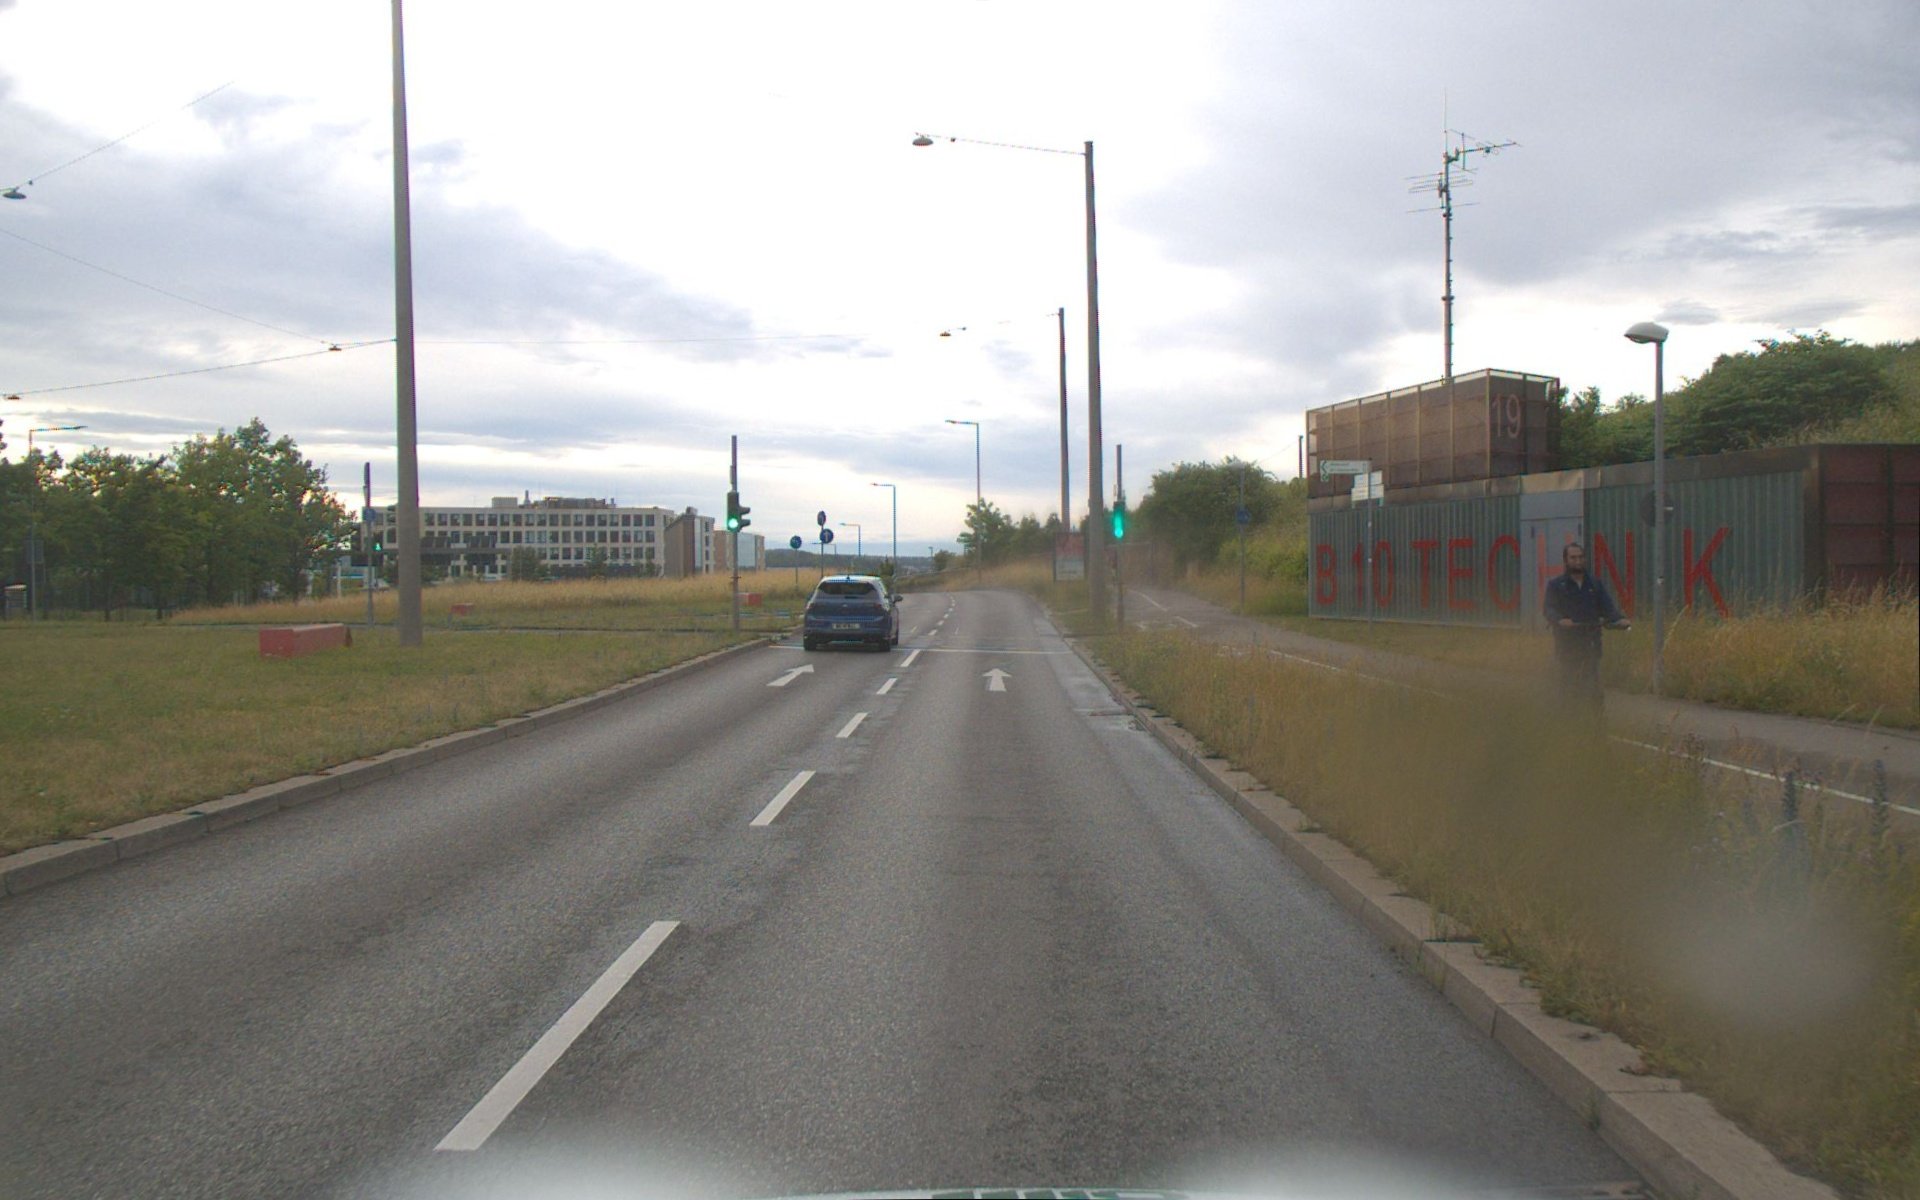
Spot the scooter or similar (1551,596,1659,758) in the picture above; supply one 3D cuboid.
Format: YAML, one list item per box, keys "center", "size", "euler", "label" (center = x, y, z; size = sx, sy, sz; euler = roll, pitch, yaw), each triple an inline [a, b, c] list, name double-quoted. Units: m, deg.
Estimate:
- center: [5.190, 0.593, 13.351]
  size: [0.393, 1.217, 1.114]
  euler: [2, 1, 0]
  label: "scooter or similar"

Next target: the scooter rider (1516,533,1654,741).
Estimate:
- center: [5.176, 0.296, 13.747]
  size: [0.789, 1.657, 0.828]
  euler: [-2, 0, 0]
  label: "scooter rider"

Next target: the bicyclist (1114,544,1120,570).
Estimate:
- center: [7.256, -1.983, 76.279]
  size: [0.260, 1.216, 0.315]
  euler: [0, 1, 3]
  label: "bicyclist"

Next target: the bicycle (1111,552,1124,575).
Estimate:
- center: [7.272, -1.689, 76.301]
  size: [0.539, 1.087, 0.615]
  euler: [0, 1, 3]
  label: "bicycle"

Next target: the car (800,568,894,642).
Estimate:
- center: [-2.272, 0.112, 33.903]
  size: [1.801, 1.418, 3.998]
  euler: [0, 0, -3]
  label: "car"
